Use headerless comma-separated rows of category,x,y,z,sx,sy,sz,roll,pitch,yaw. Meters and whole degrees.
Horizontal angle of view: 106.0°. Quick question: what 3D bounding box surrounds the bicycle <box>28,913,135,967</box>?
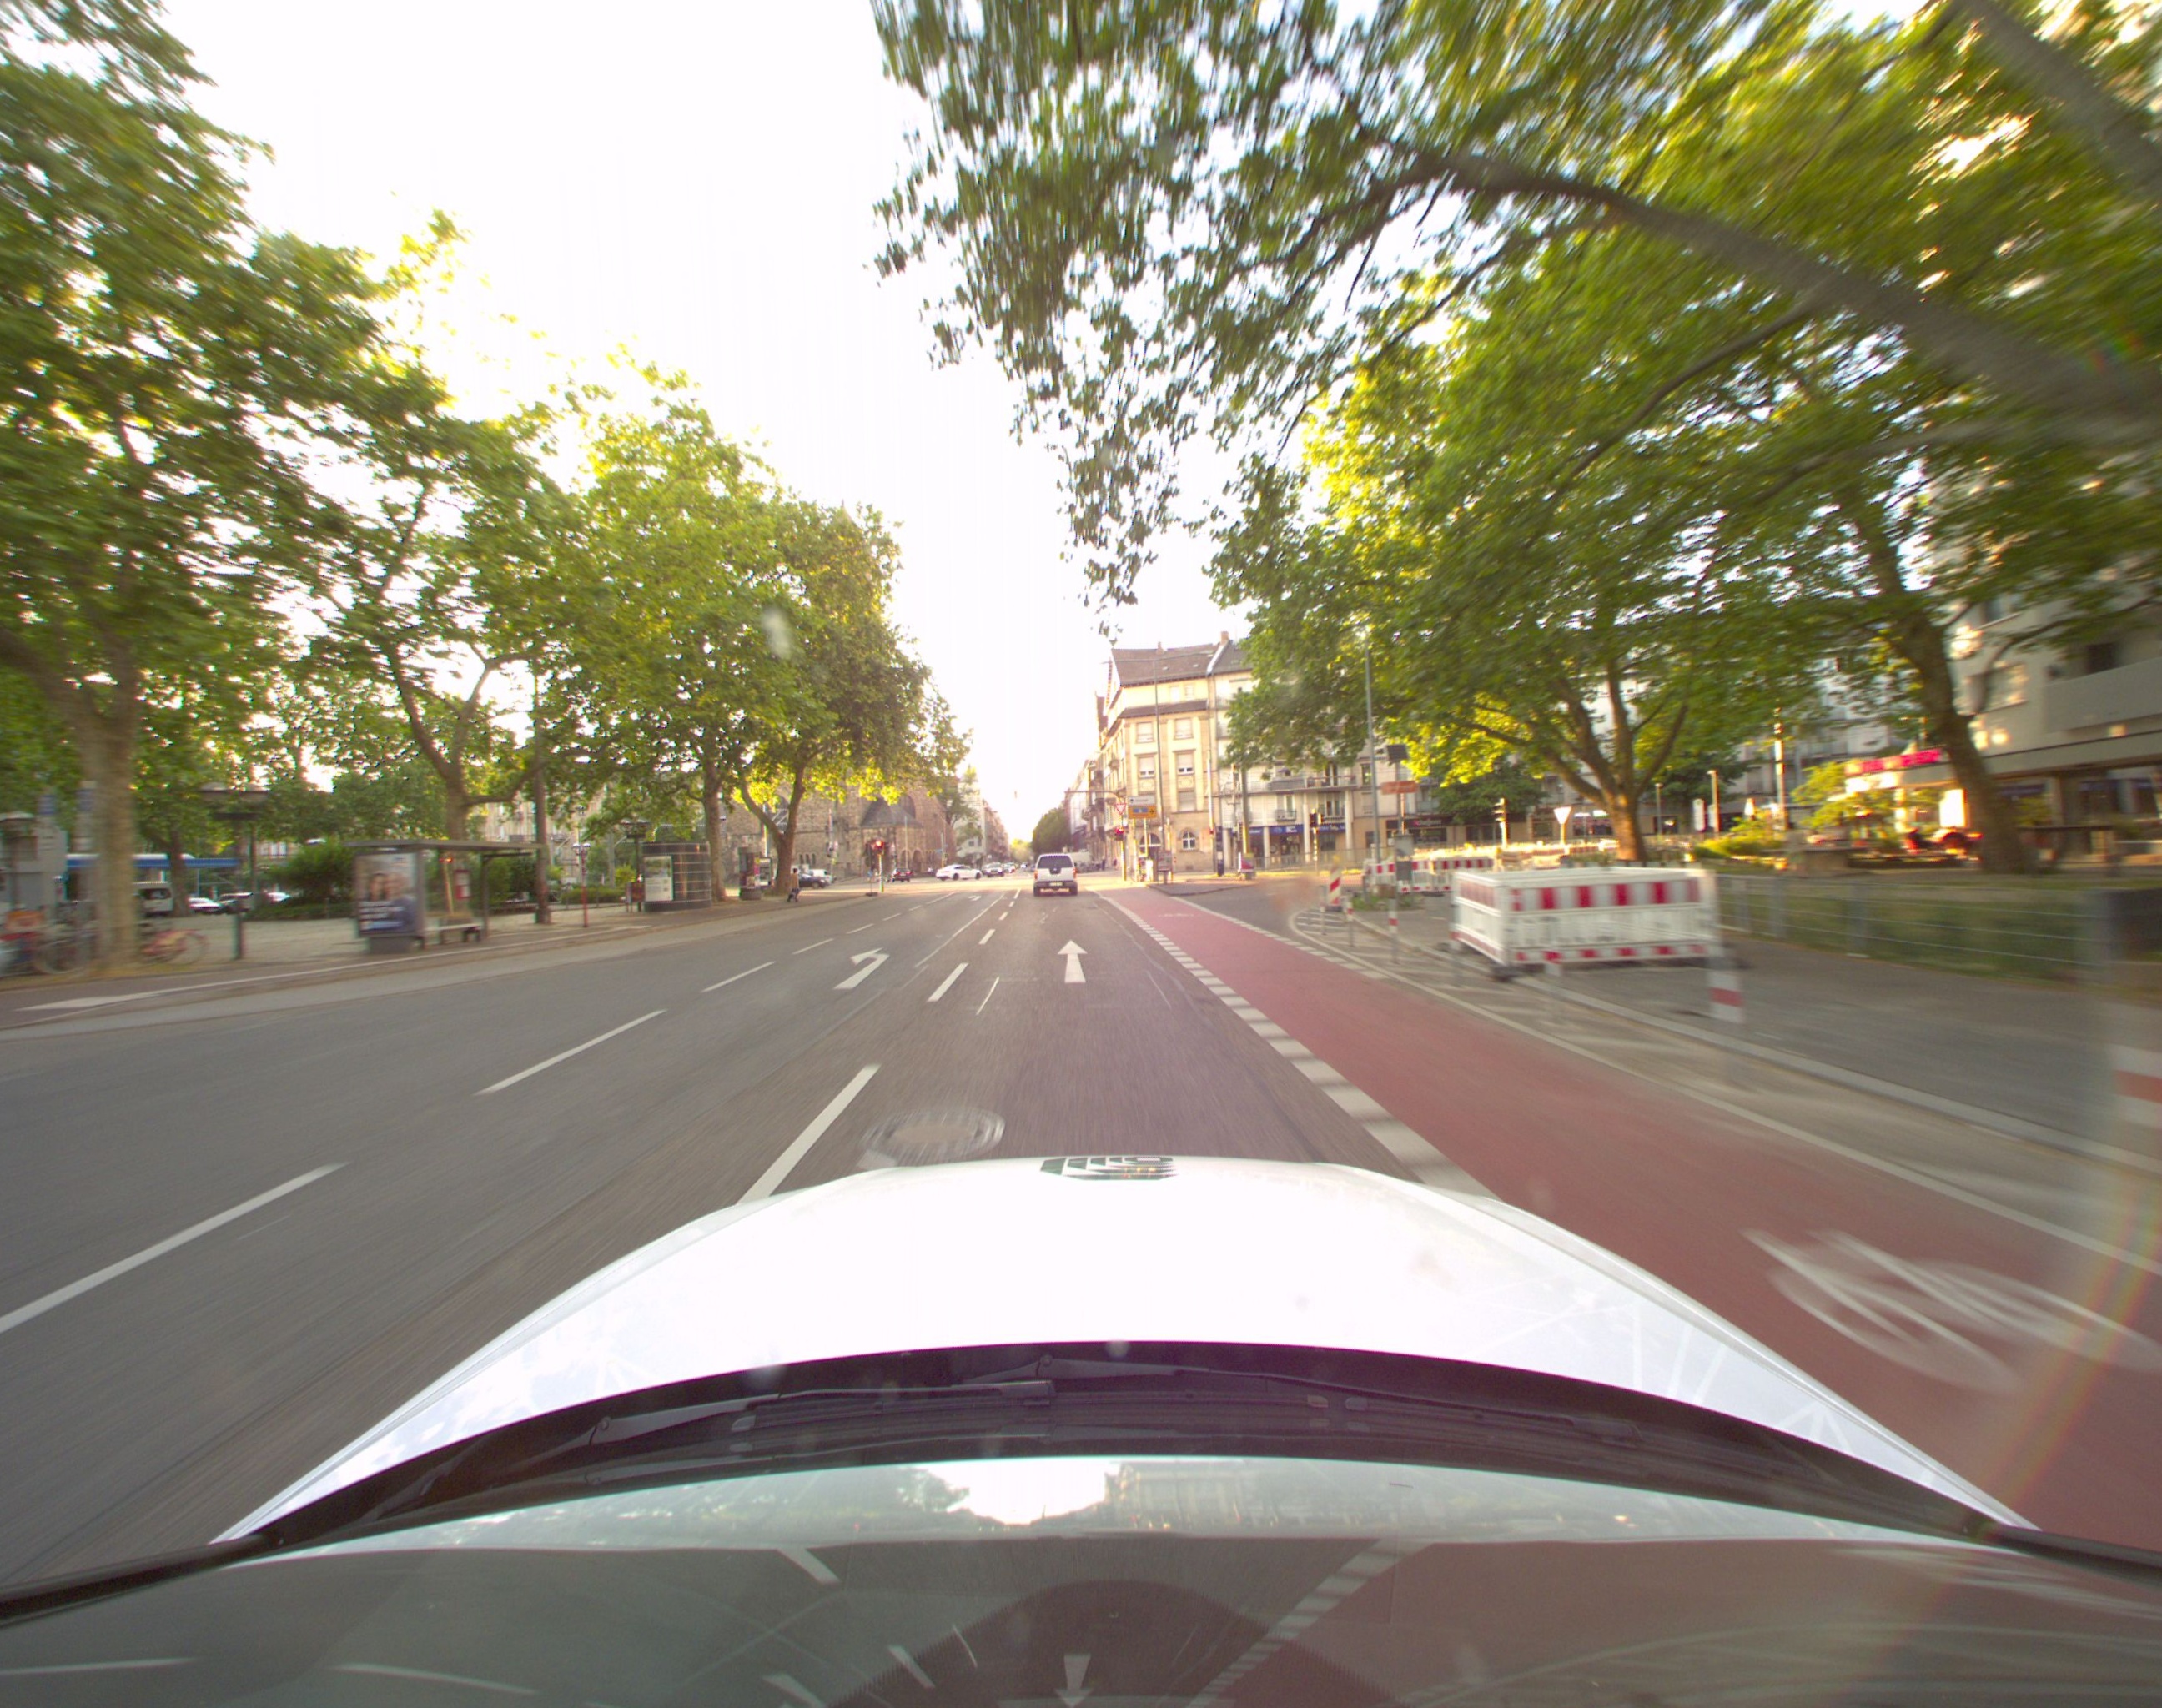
bicycle,-22.522,1.911,18.389,0.391,1.050,1.508,-2,0,10

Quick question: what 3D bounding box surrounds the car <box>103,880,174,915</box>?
car,-66.481,3.061,57.429,4.287,2.260,1.941,-2,-1,22

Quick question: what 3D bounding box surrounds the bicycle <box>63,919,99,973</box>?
bicycle,-19.855,1.802,16.163,1.484,0.968,0.397,-3,0,38

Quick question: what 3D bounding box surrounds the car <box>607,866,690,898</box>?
car,-29.278,1.894,55.254,2.060,1.841,4.656,-2,1,22

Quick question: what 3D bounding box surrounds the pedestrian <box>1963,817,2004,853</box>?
pedestrian,29.900,-0.631,26.986,0.662,1.136,0.629,-2,0,18

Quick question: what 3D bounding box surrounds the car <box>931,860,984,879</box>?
car,-11.295,1.440,74.692,1.974,1.530,4.674,-2,0,36

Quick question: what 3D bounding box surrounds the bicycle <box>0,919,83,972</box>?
bicycle,-21.641,1.885,16.646,0.390,0.968,1.513,-2,0,25

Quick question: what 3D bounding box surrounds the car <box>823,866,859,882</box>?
car,-29.226,2.419,99.277,3.763,1.805,1.721,-2,0,18

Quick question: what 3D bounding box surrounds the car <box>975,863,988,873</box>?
car,-16.077,2.222,131.604,1.992,1.651,3.811,-1,-1,-8

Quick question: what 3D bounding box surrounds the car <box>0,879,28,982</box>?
car,-20.524,1.439,12.685,1.804,1.800,4.654,-2,1,19

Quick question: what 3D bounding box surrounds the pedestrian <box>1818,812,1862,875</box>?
pedestrian,21.742,-0.287,23.341,0.709,1.758,0.666,-2,0,24

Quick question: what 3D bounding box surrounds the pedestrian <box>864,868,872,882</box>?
pedestrian,-23.574,2.339,90.179,0.553,1.584,0.549,-2,0,8

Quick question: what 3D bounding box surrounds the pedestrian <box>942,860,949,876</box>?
pedestrian,-17.190,1.779,103.485,0.650,1.886,0.587,-2,0,8

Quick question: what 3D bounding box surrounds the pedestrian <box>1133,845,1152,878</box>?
pedestrian,3.389,0.415,44.835,0.796,1.768,0.717,-2,0,-17

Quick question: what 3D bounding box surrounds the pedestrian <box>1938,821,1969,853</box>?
pedestrian,29.031,-0.560,27.116,0.576,1.028,0.660,-2,0,38

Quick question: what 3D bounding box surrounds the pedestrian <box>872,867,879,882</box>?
pedestrian,-22.780,2.276,90.255,0.553,1.584,0.549,-2,0,8

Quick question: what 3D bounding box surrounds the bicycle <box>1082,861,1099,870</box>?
bicycle,1.087,1.319,91.452,1.909,0.968,0.545,-2,0,-2

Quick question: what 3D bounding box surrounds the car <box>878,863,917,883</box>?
car,-18.094,1.880,80.041,2.094,1.841,4.581,-3,1,-35

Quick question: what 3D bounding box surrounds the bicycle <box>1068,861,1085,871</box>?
bicycle,-0.501,1.356,92.665,1.909,0.968,0.545,-2,0,-2

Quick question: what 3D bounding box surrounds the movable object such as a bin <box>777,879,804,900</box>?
movable object such as a bin,-13.891,1.693,38.950,0.733,0.890,0.986,-2,0,12

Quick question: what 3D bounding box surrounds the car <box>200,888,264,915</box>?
car,-65.336,3.659,62.662,4.287,1.842,1.941,-2,-1,22

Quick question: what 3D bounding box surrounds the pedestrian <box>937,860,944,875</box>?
pedestrian,-17.893,1.762,103.568,0.590,1.886,0.554,-2,0,7

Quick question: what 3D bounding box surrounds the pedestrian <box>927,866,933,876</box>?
pedestrian,-20.073,2.230,108.222,0.568,1.291,0.488,-2,0,18

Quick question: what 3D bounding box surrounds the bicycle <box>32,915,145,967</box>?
bicycle,-21.914,1.899,18.016,0.390,0.968,1.513,-2,0,25

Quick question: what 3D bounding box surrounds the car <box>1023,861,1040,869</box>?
car,-12.448,2.850,204.803,3.982,1.816,1.996,-2,0,-6

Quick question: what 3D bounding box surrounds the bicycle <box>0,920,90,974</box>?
bicycle,-21.110,1.868,16.331,0.390,0.968,1.513,-2,0,25

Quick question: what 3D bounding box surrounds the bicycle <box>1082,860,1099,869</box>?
bicycle,1.054,1.202,91.174,1.909,0.968,0.545,-2,0,-2

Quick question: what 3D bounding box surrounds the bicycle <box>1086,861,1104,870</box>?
bicycle,1.560,1.321,92.242,1.901,0.968,0.548,-2,0,14

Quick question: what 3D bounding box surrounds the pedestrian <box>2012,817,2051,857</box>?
pedestrian,28.906,-0.523,24.776,0.557,1.178,0.546,-2,0,-13

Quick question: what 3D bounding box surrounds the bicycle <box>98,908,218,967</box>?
bicycle,-19.434,1.730,17.184,0.397,1.073,1.603,-2,0,25

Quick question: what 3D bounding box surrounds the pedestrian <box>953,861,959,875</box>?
pedestrian,-17.055,1.865,111.281,0.589,1.886,0.555,-2,0,14

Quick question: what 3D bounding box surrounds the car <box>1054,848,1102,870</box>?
car,-0.334,0.586,97.690,5.856,2.288,2.047,-2,0,-43

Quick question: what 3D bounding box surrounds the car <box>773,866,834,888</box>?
car,-22.679,1.874,66.763,4.239,1.651,1.999,-2,0,-1

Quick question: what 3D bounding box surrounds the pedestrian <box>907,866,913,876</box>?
pedestrian,-21.516,2.115,102.447,0.500,1.280,0.488,-2,0,-24

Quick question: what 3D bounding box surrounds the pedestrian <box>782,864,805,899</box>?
pedestrian,-14.001,1.332,39.708,0.733,1.629,0.688,-2,0,12

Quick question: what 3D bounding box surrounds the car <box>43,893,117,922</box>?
car,-68.008,3.632,55.325,4.287,1.842,1.941,-2,-1,22

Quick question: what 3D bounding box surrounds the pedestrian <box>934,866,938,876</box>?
pedestrian,-19.307,2.208,108.305,0.490,1.286,0.498,-2,0,-3

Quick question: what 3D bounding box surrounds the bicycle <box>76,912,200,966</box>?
bicycle,-20.085,1.790,17.387,0.403,0.968,1.653,-2,0,25

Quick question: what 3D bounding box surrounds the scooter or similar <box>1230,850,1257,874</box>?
scooter or similar,8.774,0.446,43.981,0.548,1.250,1.374,-2,0,-39

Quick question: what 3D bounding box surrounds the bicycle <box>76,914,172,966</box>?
bicycle,-20.827,1.856,17.760,0.393,0.968,1.501,-2,0,-6

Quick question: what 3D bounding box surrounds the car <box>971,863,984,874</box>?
car,-15.757,2.144,123.847,1.992,1.651,3.811,-1,-1,-8

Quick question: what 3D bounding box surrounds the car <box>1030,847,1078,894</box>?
car,-1.148,0.683,35.411,1.861,1.815,3.998,-3,0,-1

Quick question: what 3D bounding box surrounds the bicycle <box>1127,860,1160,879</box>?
bicycle,3.390,0.836,44.332,1.690,0.968,0.544,-2,0,-7

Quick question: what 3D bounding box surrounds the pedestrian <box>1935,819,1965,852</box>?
pedestrian,30.527,-0.662,28.610,0.628,1.129,0.601,-2,0,-34

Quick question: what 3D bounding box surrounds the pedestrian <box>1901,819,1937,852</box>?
pedestrian,28.850,-0.632,28.034,0.623,1.112,0.579,-2,0,17

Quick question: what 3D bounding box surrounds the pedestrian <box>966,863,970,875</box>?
pedestrian,-18.663,2.489,134.502,0.548,1.886,0.597,-2,0,12

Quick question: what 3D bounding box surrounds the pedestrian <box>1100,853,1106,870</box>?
pedestrian,2.474,0.803,92.192,0.591,1.886,0.648,-2,0,2

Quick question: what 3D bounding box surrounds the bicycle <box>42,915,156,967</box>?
bicycle,-21.459,1.873,17.831,0.390,0.968,1.513,-2,0,25

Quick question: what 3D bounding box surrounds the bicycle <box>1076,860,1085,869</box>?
bicycle,-0.097,1.162,93.981,0.540,0.968,1.928,-2,0,14

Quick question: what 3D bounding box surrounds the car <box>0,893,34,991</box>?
car,-17.932,1.431,10.756,1.806,1.481,4.649,-2,1,14

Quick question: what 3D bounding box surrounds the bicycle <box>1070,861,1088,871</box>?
bicycle,-0.194,1.344,91.865,1.914,0.968,0.544,-2,0,-9

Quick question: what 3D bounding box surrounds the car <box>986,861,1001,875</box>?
car,-10.974,1.768,102.124,1.780,1.651,3.811,-1,-1,-8

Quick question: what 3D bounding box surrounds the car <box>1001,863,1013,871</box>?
car,-13.809,2.447,151.889,1.992,1.506,3.811,-1,-1,-8

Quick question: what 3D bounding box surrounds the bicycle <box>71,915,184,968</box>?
bicycle,-20.460,1.861,17.508,0.390,0.968,1.513,-2,0,25

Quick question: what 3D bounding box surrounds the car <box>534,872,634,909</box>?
car,-29.124,2.113,47.906,2.060,1.841,4.656,-2,1,22

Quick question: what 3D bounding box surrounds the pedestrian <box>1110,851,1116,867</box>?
pedestrian,3.556,0.585,90.526,0.591,1.768,0.653,-2,0,2

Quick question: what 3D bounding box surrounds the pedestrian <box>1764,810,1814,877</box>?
pedestrian,19.100,-0.283,21.976,0.662,1.758,0.714,-2,0,-16

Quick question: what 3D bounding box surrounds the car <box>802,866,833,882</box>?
car,-32.789,2.474,101.288,1.692,1.909,3.514,-2,0,24

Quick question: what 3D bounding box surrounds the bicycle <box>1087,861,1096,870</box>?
bicycle,1.252,1.335,93.600,0.540,0.968,1.928,-2,0,14
